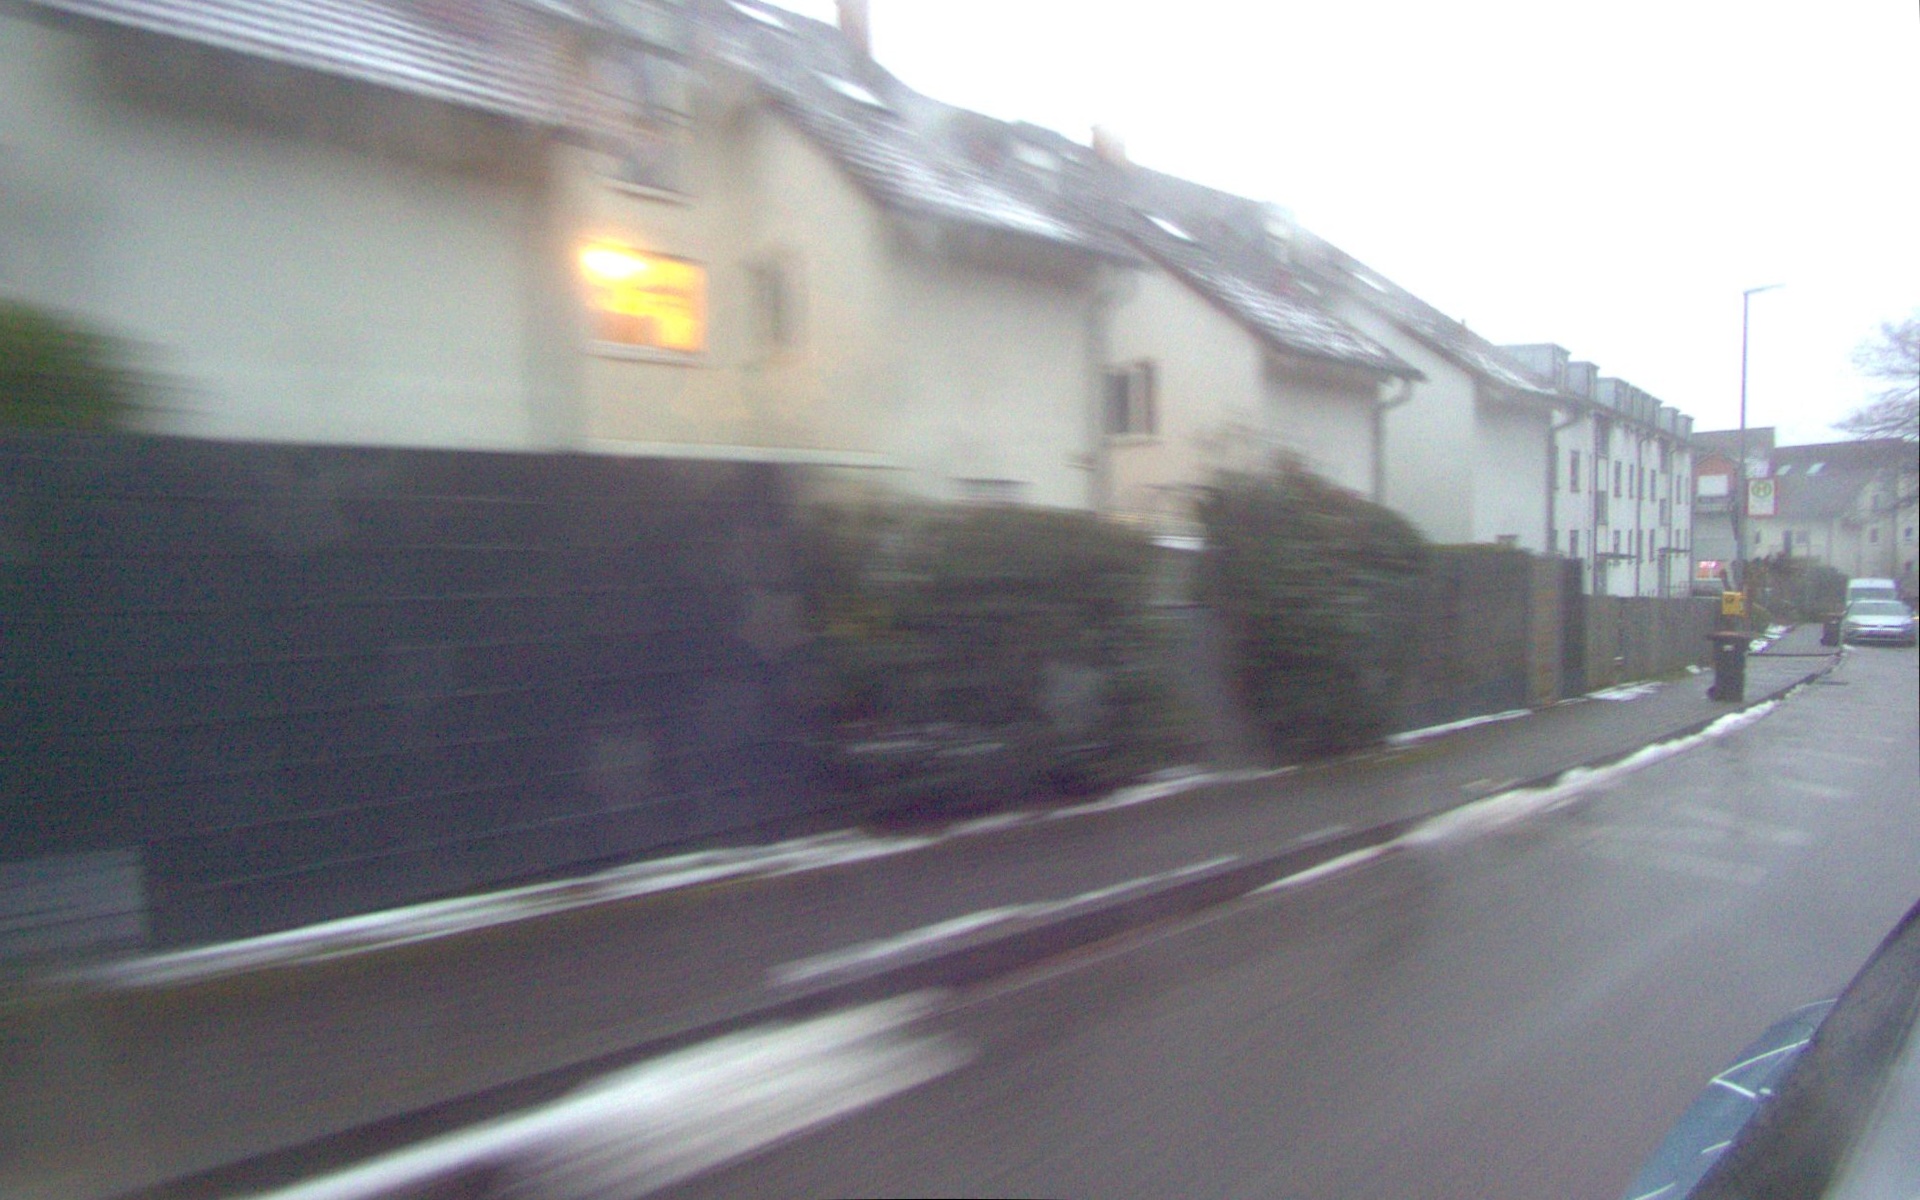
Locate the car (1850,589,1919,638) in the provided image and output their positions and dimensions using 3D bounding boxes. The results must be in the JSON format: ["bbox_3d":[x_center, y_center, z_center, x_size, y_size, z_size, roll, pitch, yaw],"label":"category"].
[{"bbox_3d":[30.182,0.407,32.951,1.736,1.447,4.391,-1,0,41],"label":"car"}]

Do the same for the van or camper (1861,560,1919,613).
[{"bbox_3d":[47.206,-0.683,51.347,2.012,2.539,6.694,1,1,40],"label":"van or camper"}]
